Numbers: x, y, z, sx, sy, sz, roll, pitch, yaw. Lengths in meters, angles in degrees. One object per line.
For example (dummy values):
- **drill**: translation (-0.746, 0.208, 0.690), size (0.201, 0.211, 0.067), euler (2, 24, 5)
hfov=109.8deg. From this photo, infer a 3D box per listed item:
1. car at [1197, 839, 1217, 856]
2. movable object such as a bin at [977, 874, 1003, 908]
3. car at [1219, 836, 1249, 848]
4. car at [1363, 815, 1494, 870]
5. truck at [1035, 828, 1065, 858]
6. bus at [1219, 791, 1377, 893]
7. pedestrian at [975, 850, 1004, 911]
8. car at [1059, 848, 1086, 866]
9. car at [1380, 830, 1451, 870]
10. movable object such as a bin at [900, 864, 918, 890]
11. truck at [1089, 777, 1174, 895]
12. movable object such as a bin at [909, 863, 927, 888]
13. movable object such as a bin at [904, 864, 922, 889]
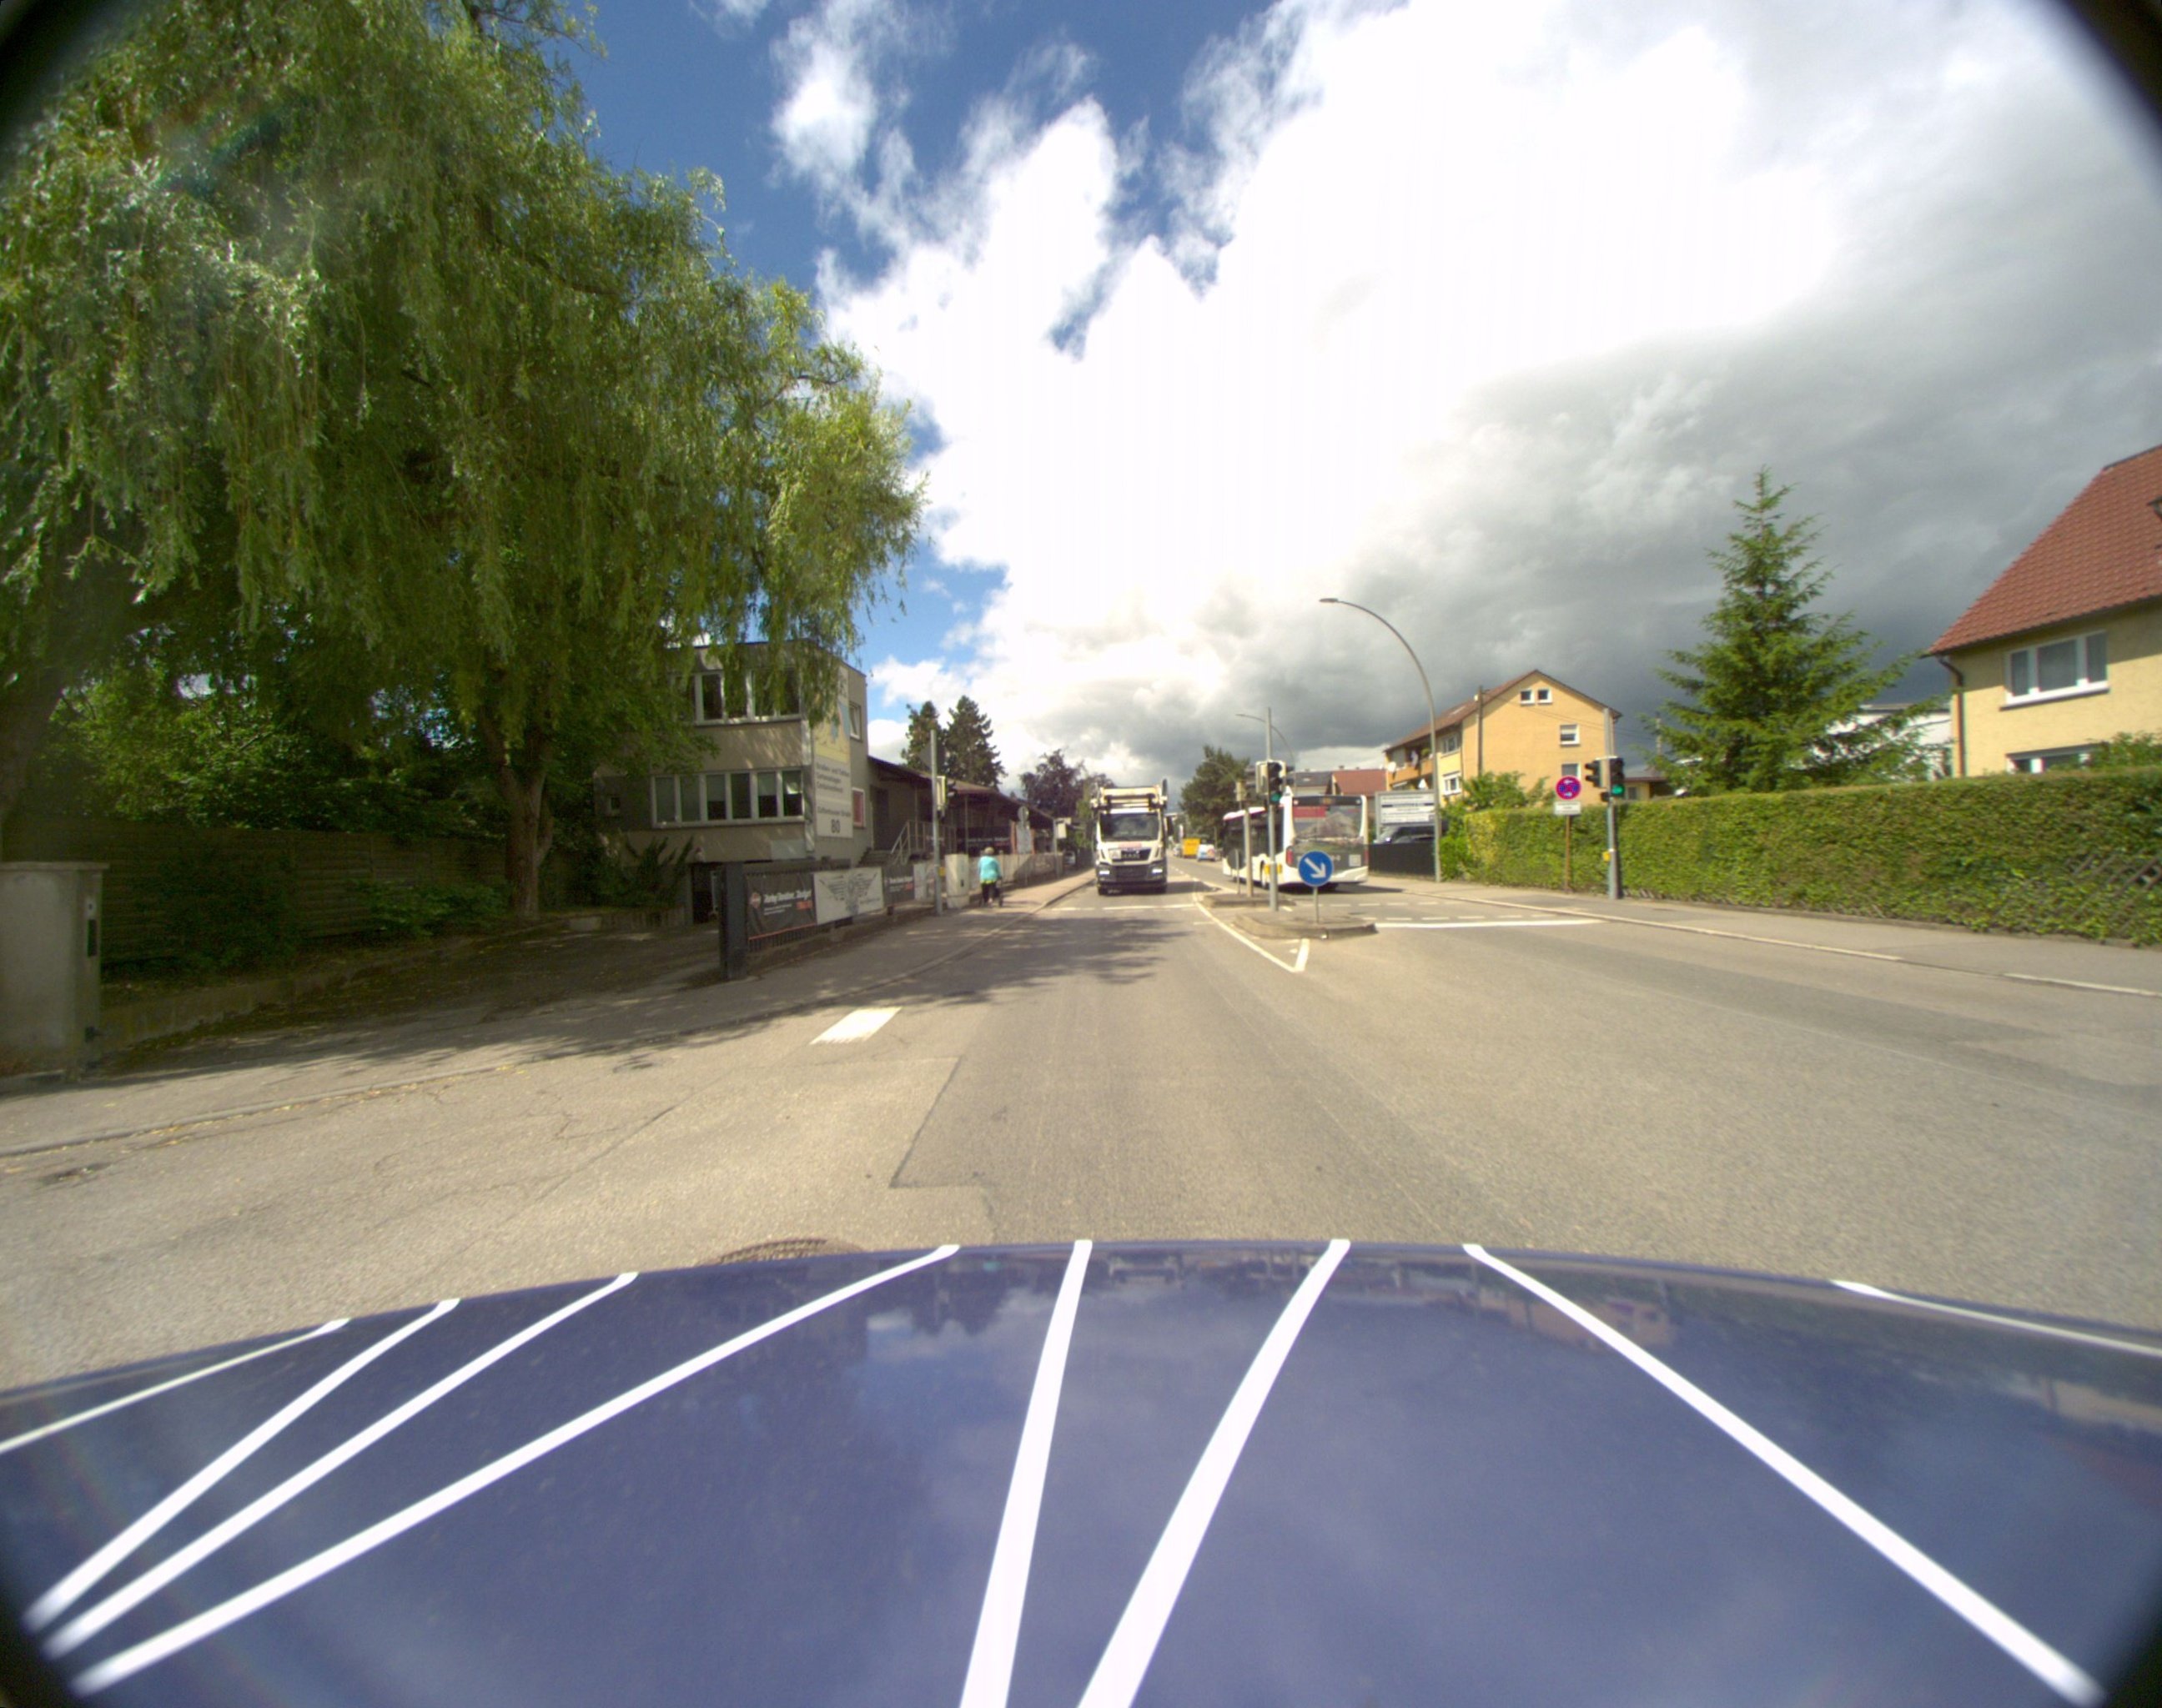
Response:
- **car**: translation (13.575, -0.703, 82.119), size (1.729, 1.671, 4.000), euler (-2, 1, 4)
- **movable object such as a bin**: translation (-2.436, 0.988, 20.317), size (0.670, 0.866, 0.748), euler (0, 1, -6)
- **car**: translation (25.330, -1.994, 125.909), size (4.733, 1.669, 2.219), euler (-2, 1, 4)
- **car**: translation (16.807, -0.562, 36.979), size (5.361, 2.371, 2.105), euler (-2, 1, 8)
- **truck**: translation (-3.049, -1.071, 75.094), size (2.090, 2.812, 5.204), euler (-2, 1, 6)
- **bus**: translation (7.610, -0.456, 28.884), size (2.725, 3.013, 12.264), euler (-1, 1, 1)
- **pedestrian**: translation (-2.378, 0.675, 19.736), size (0.734, 1.534, 0.840), euler (0, 1, -7)
- **car**: translation (-0.751, 0.221, 72.412), size (1.862, 1.521, 5.204), euler (-2, 1, 6)
- **car**: translation (14.634, -0.205, 33.441), size (1.813, 1.612, 3.622), euler (-2, 1, 6)
- **movable object such as a bin**: translation (-6.384, 0.858, 28.150), size (0.482, 0.925, 0.474), euler (-2, 1, 5)
- **truck**: translation (2.210, -0.680, 30.030), size (2.663, 3.789, 9.818), euler (-2, 1, 6)
- **movable object such as a bin**: translation (-6.291, 0.838, 29.262), size (0.482, 0.925, 0.584), euler (-2, 1, 5)
- **movable object such as a bin**: translation (-6.339, 0.848, 28.676), size (0.482, 0.925, 0.474), euler (-2, 1, 5)
